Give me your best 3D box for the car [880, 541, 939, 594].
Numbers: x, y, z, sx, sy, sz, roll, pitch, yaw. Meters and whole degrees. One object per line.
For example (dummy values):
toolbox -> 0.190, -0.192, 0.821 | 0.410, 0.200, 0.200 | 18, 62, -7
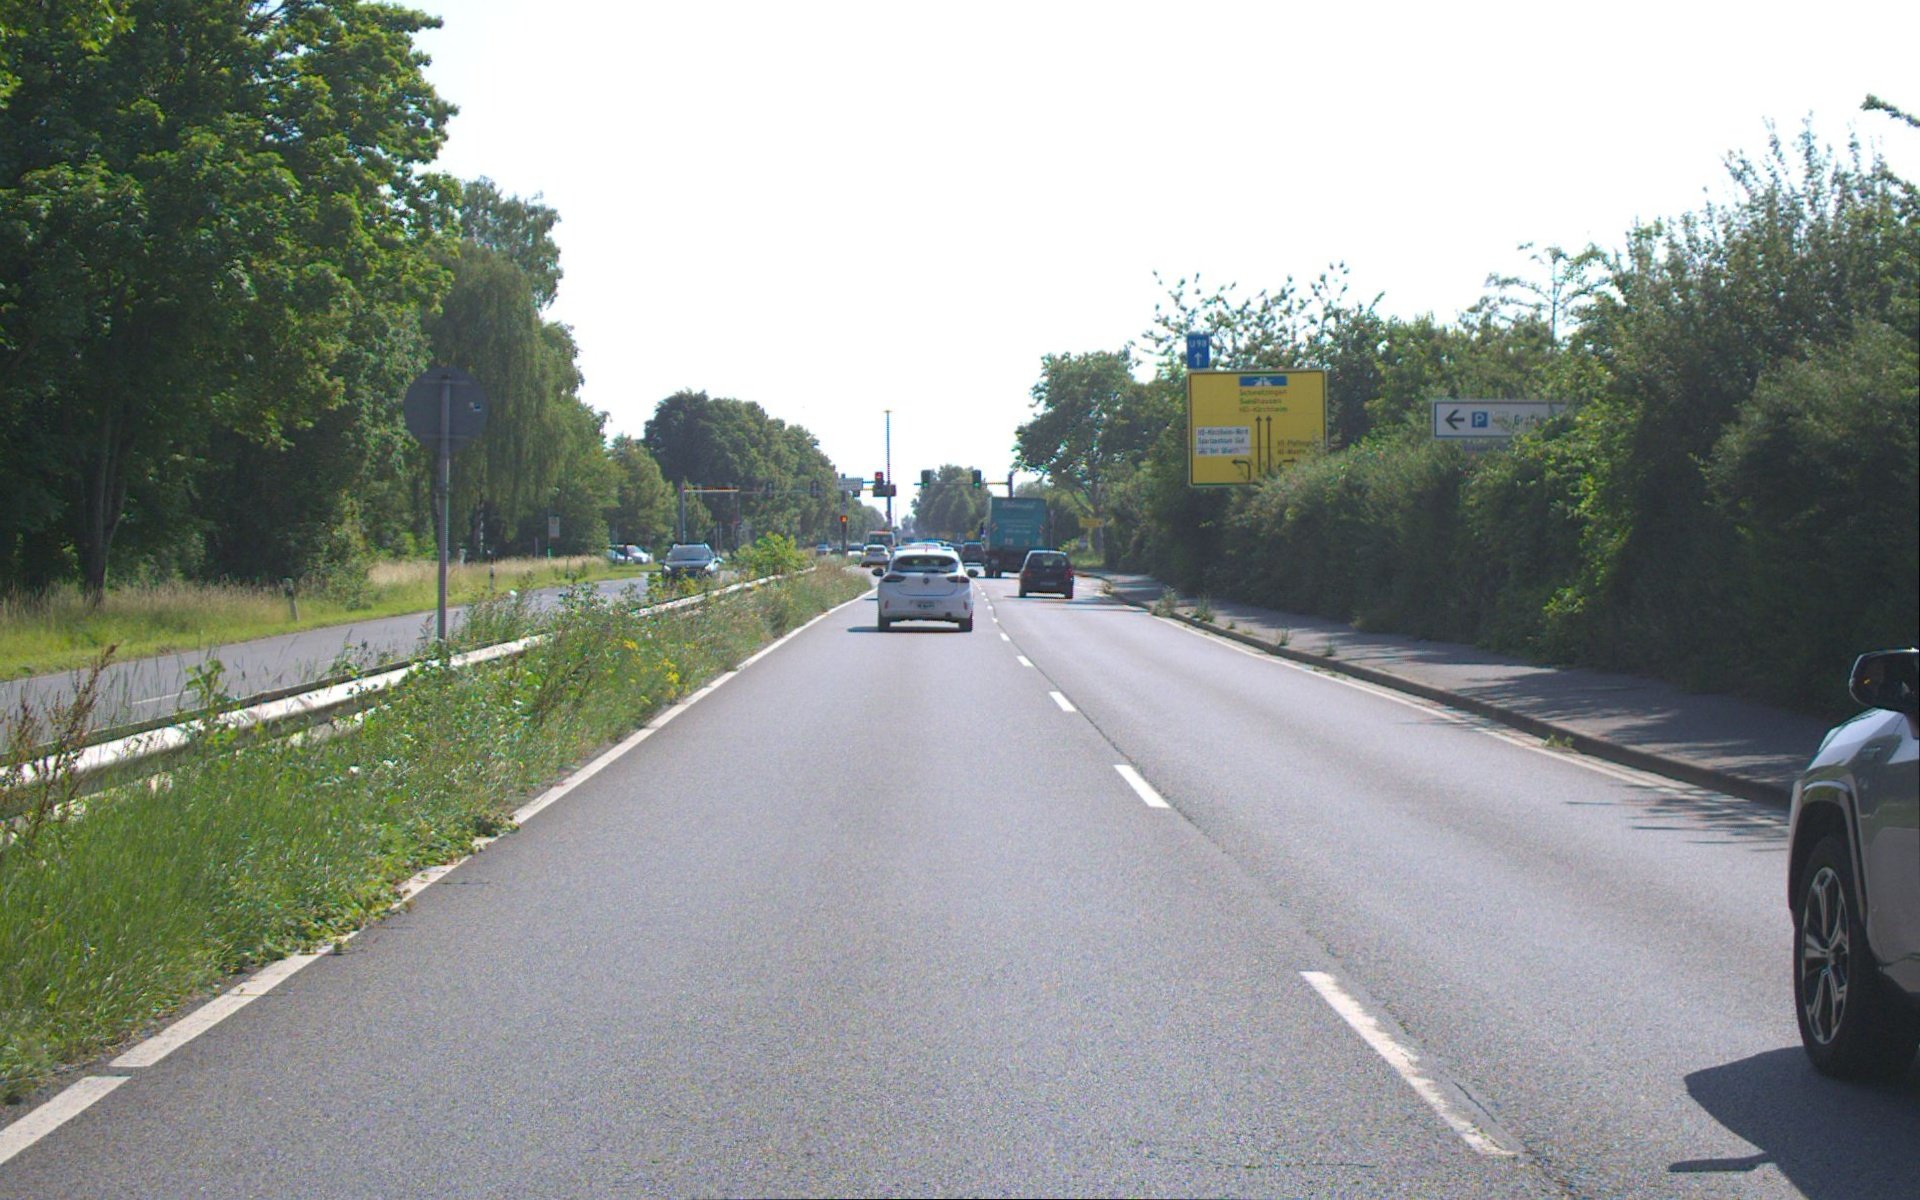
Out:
car -> -1.393, -0.909, 95.287 | 1.572, 1.409, 3.278 | 1, 1, 0

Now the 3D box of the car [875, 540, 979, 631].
car -> -0.565, -0.290, 62.243 | 1.799, 1.547, 4.000 | 1, 1, 0

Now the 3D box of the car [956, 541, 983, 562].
car -> 0.684, -3.536, 250.546 | 1.812, 1.459, 4.459 | -1, 0, 2

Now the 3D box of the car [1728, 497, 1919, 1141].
car -> 3.470, 0.600, 8.697 | 1.902, 1.674, 4.684 | 2, 1, -1

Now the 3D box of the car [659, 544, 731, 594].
car -> -8.300, -0.978, 108.020 | 1.779, 1.525, 4.161 | -1, 1, 2

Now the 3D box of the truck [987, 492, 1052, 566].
truck -> 2.784, -3.345, 163.692 | 2.891, 3.417, 9.169 | 0, 1, 0

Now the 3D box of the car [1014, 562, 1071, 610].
car -> 2.468, -0.420, 103.406 | 1.572, 1.410, 3.277 | 1, 0, 0

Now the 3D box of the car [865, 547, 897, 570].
car -> -5.182, -2.732, 225.314 | 1.812, 1.459, 4.970 | -1, 0, 2
